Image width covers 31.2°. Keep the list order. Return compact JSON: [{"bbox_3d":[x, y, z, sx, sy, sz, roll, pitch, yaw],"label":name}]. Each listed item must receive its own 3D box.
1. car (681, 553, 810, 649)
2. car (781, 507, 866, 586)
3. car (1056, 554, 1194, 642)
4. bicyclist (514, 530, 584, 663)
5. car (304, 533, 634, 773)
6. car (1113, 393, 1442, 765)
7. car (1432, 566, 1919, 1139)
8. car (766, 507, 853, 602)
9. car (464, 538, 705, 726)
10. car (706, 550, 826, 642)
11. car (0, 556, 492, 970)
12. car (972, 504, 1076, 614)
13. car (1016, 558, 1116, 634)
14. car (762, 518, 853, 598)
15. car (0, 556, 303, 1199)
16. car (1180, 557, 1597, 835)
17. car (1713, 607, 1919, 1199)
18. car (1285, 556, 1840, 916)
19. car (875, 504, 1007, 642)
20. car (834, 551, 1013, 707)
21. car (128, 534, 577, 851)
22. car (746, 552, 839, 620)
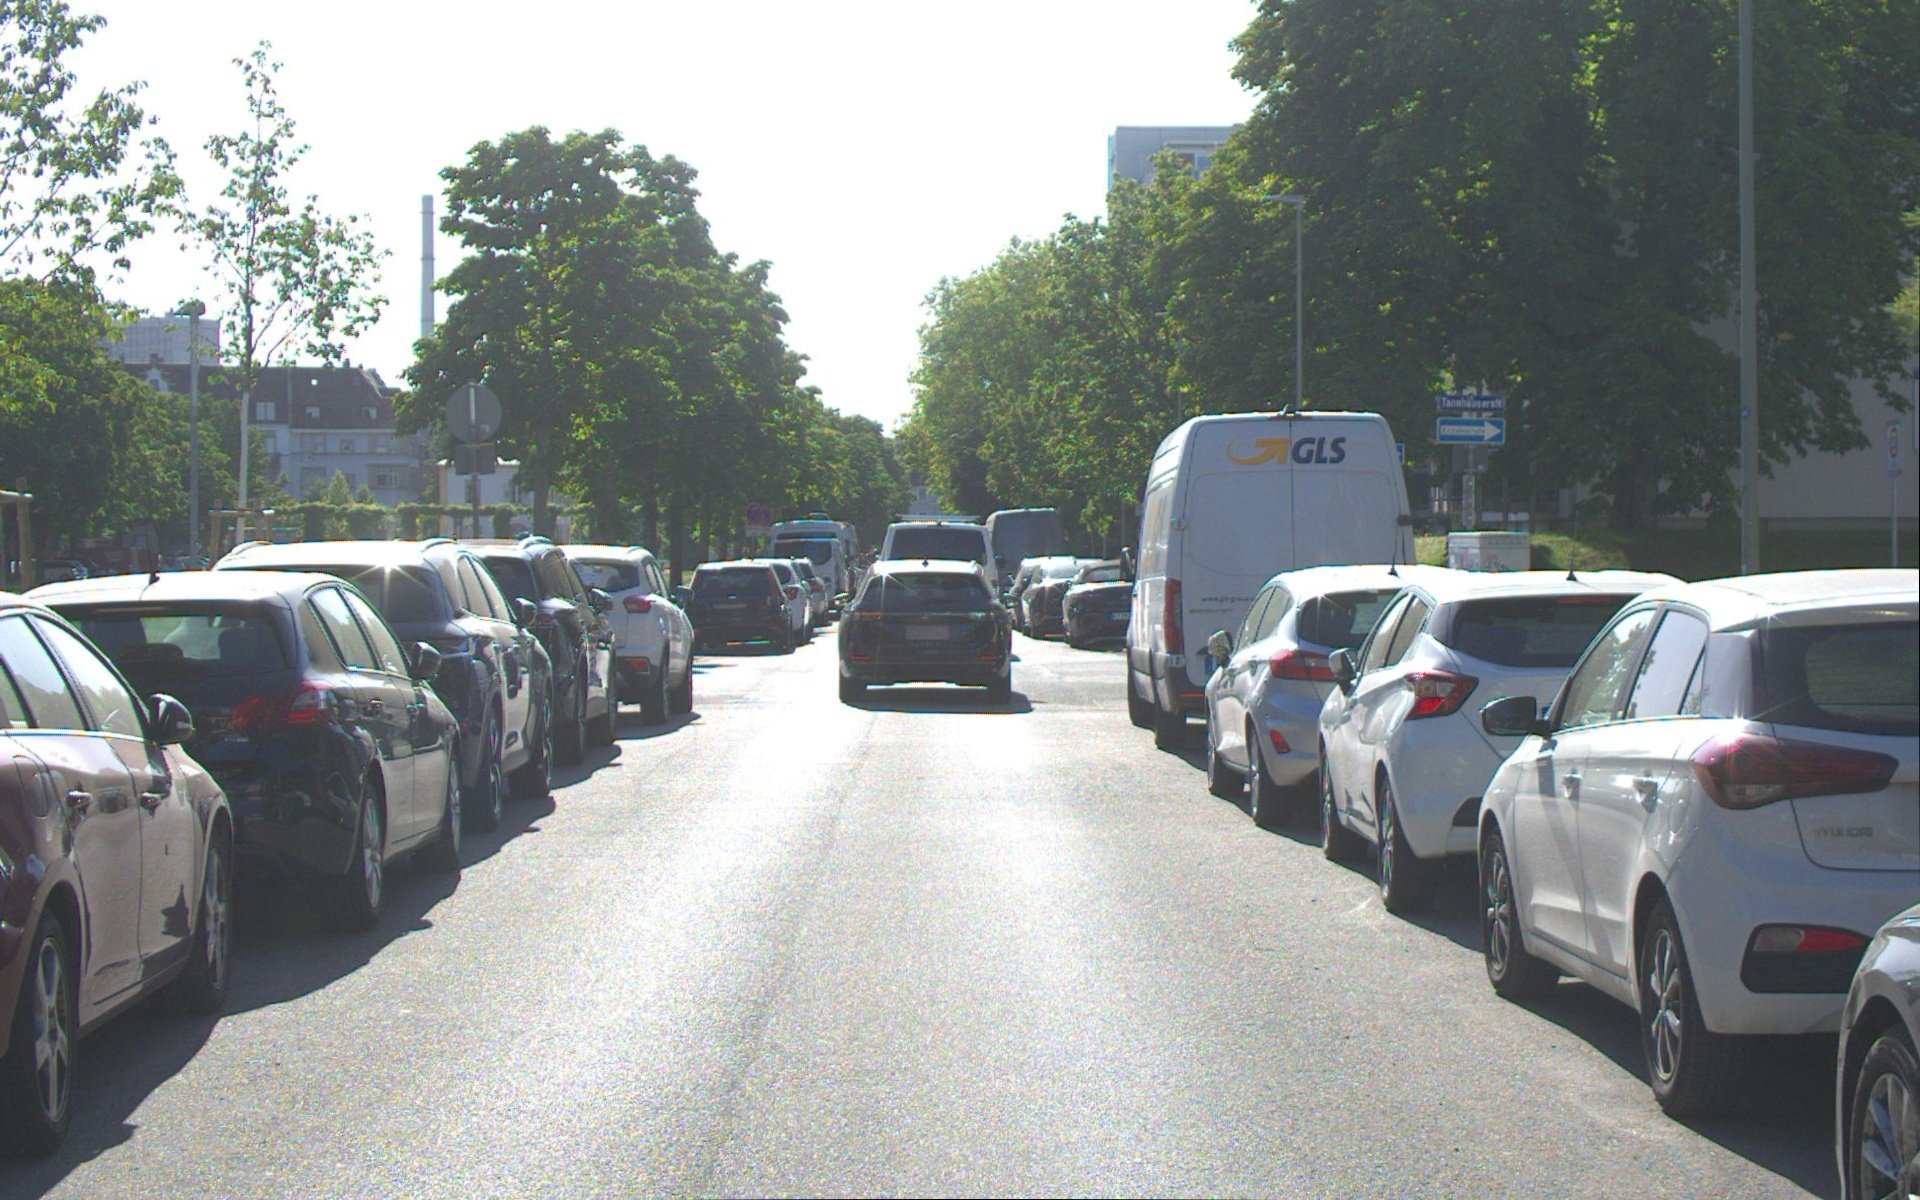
[{"bbox_3d":[-3.395,0.015,55.000,1.748,1.420,3.916,-2,0,1],"label":"car"},{"bbox_3d":[-4.625,-1.818,117.568,2.616,2.636,6.114,0,1,1],"label":"car"},{"bbox_3d":[2.771,-0.062,58.741,2.125,1.333,4.506,-3,1,1],"label":"car"},{"bbox_3d":[-4.953,-0.049,41.455,0.788,1.591,0.696,0,1,-3],"label":"bicyclist"},{"bbox_3d":[-3.661,0.336,26.426,1.842,1.633,4.715,-2,1,0],"label":"car"},{"bbox_3d":[2.506,-0.208,28.919,2.142,2.703,6.841,-2,1,1],"label":"car"},{"bbox_3d":[2.663,0.628,10.895,1.721,1.430,4.153,-1,1,0],"label":"car"},{"bbox_3d":[-4.014,-1.222,92.116,2.098,2.488,4.127,0,1,1],"label":"car"},{"bbox_3d":[-3.523,0.253,32.938,1.756,1.641,4.287,-2,1,1],"label":"car"},{"bbox_3d":[-3.331,-0.074,59.521,1.777,1.490,3.875,-2,0,1],"label":"car"},{"bbox_3d":[-3.288,0.600,15.311,1.873,1.514,4.471,-2,1,-2],"label":"car"},{"bbox_3d":[1.556,-1.045,86.231,2.162,2.680,5.417,0,1,-4],"label":"car"},{"bbox_3d":[1.969,-0.095,64.695,1.779,1.366,4.127,0,1,1],"label":"car"},{"bbox_3d":[-3.781,-1.054,85.707,2.098,1.936,4.127,0,1,0],"label":"car"},{"bbox_3d":[-3.205,0.646,10.141,1.755,1.487,4.669,-2,1,-2],"label":"car"},{"bbox_3d":[2.484,0.502,20.957,1.849,1.461,4.202,1,1,-2],"label":"car"},{"bbox_3d":[2.627,0.751,5.464,1.699,1.430,4.472,-2,1,-2],"label":"car"},{"bbox_3d":[2.685,0.536,16.271,1.878,1.470,4.140,0,1,0],"label":"car"},{"bbox_3d":[-0.256,-0.435,52.721,1.894,1.984,4.010,-2,1,1],"label":"car"},{"bbox_3d":[-0.347,0.264,36.605,1.779,1.526,4.000,1,1,1],"label":"car"},{"bbox_3d":[-3.439,0.447,20.339,1.819,1.604,4.739,-2,1,-1],"label":"car"},{"bbox_3d":[-3.740,-0.333,77.248,1.833,1.495,4.127,0,1,1],"label":"car"}]
